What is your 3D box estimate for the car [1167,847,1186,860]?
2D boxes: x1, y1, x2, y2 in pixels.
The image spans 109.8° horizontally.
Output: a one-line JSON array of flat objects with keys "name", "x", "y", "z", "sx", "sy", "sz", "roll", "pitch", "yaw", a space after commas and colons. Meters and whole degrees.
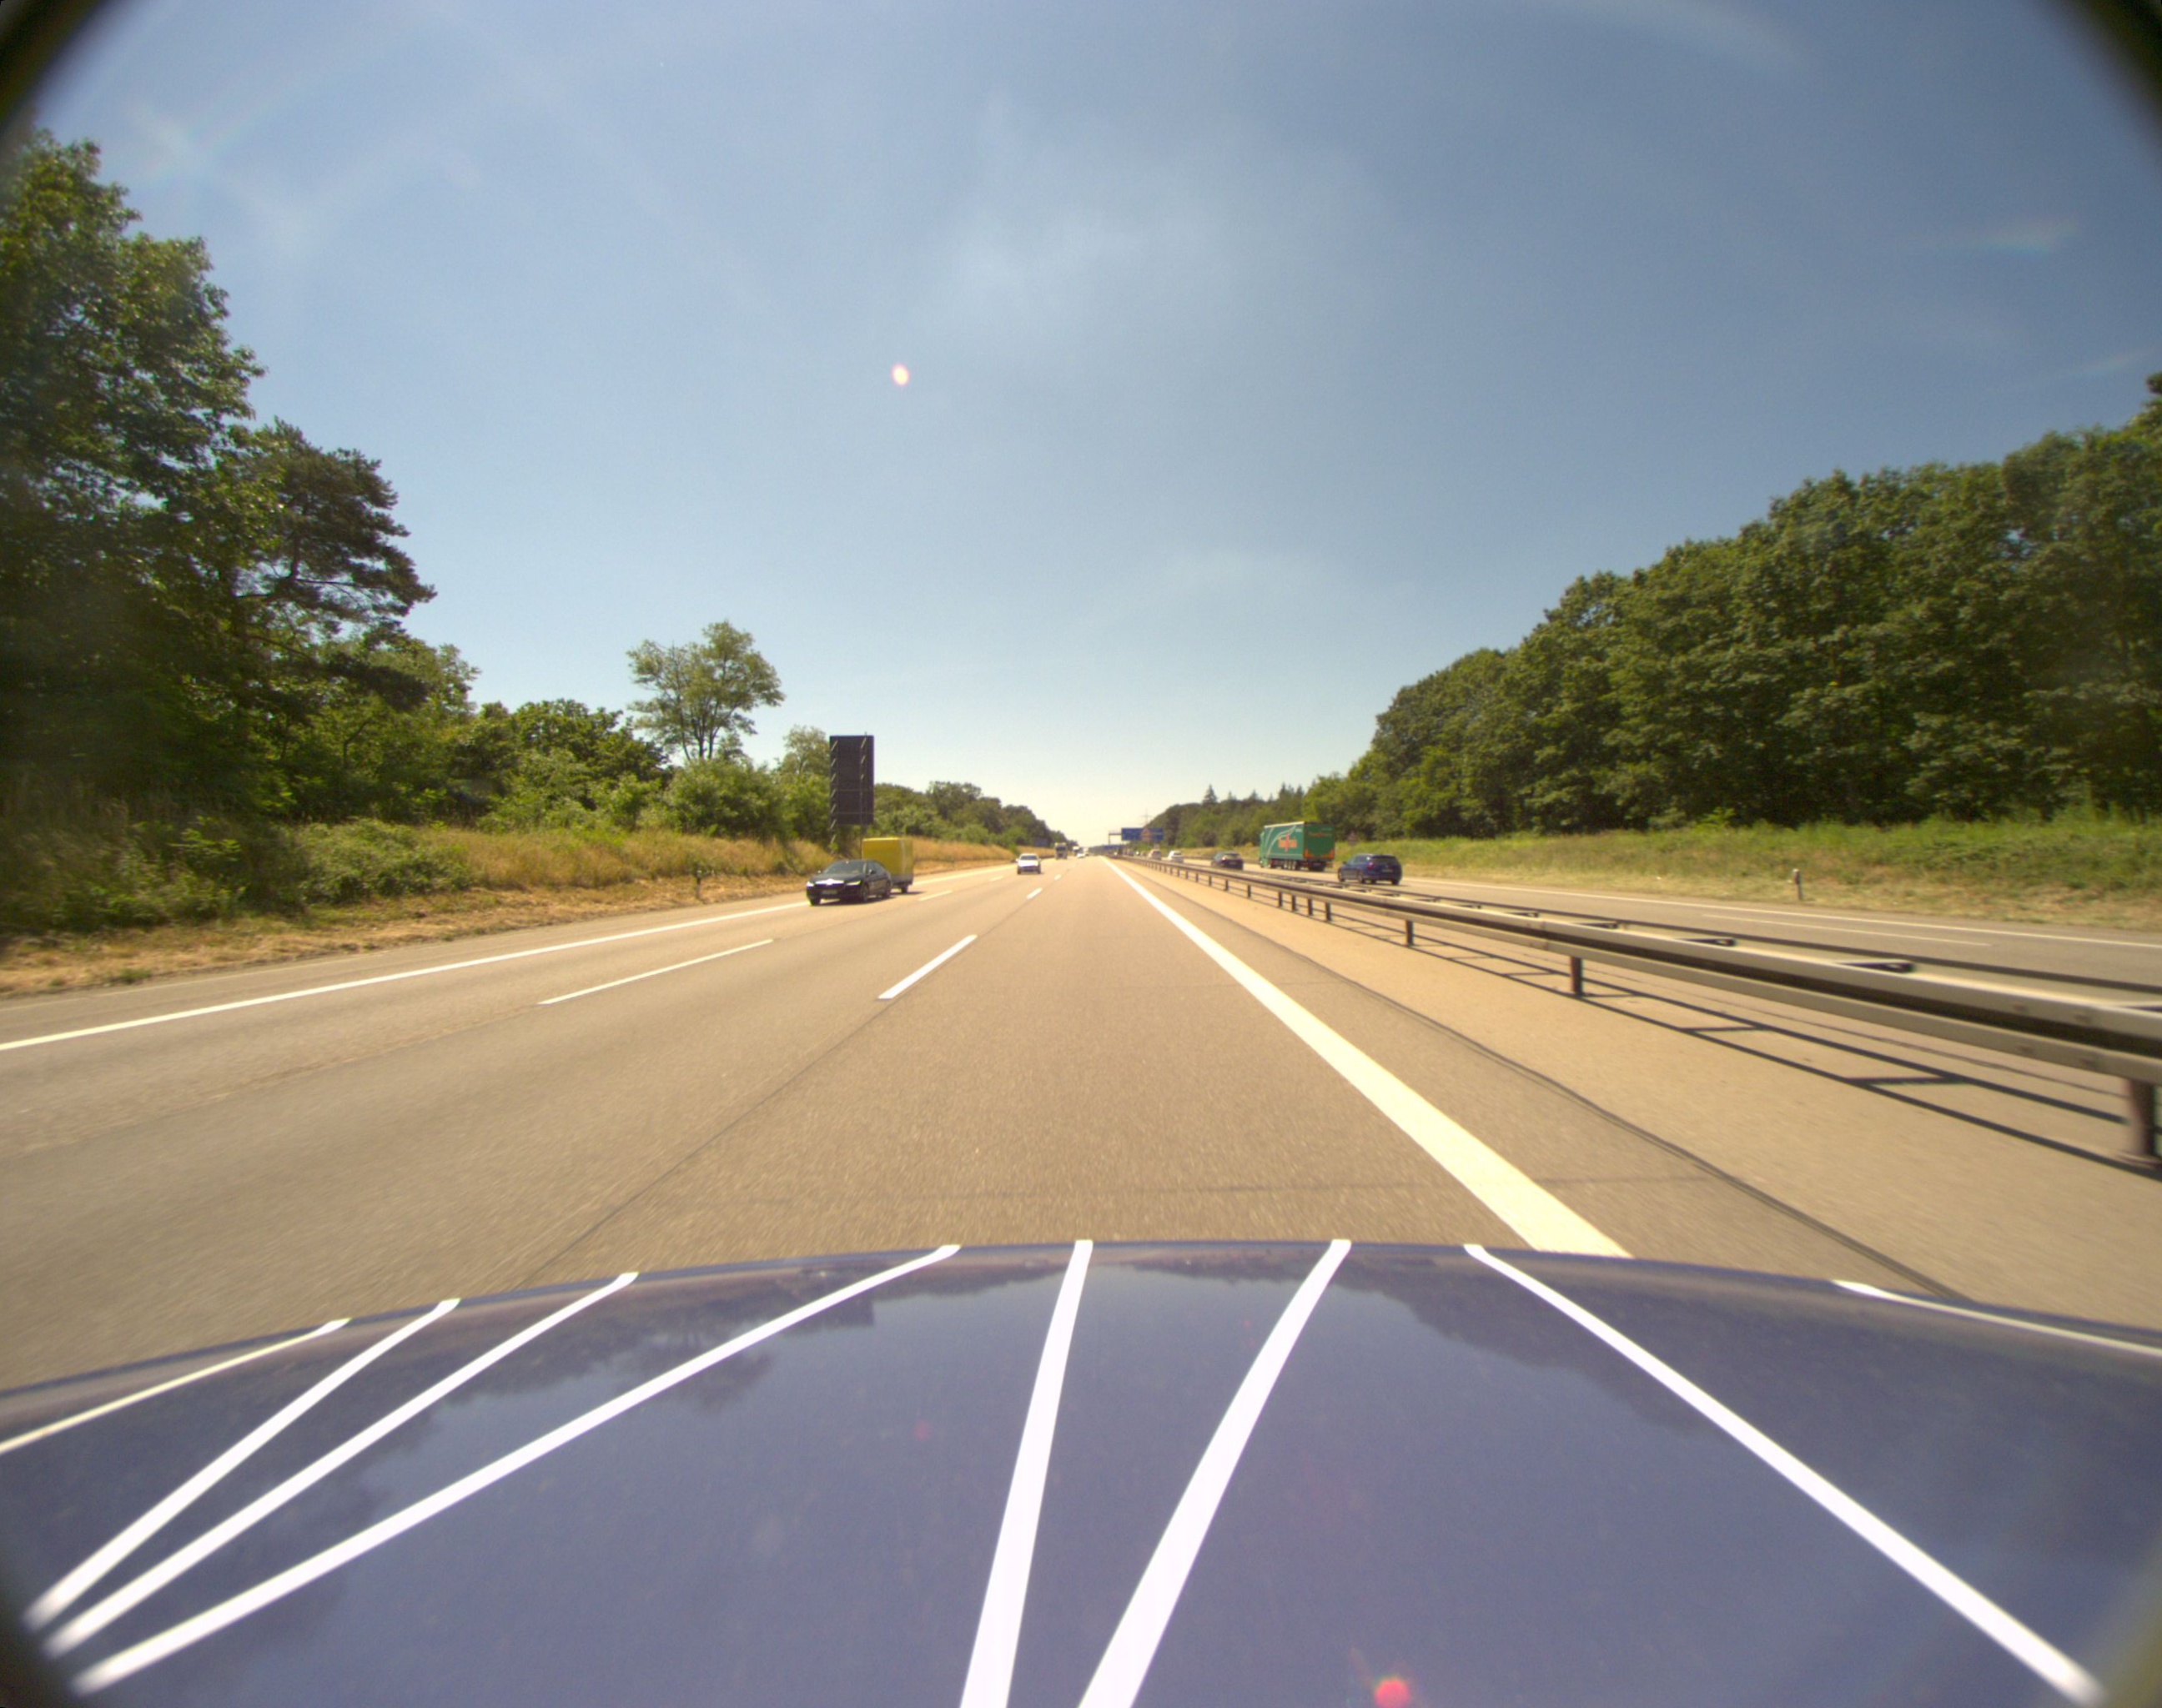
[{"name": "car", "x": 11.331, "y": -0.047, "z": 90.586, "sx": 1.659, "sy": 1.492, "sz": 4.600, "roll": 2, "pitch": 1, "yaw": 1}]

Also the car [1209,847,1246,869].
[{"name": "car", "x": 10.241, "y": 0.222, "z": 53.422, "sx": 1.713, "sy": 1.402, "sz": 5.083, "roll": 2, "pitch": 1, "yaw": 1}]

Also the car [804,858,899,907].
[{"name": "car", "x": -7.910, "y": 0.934, "z": 26.662, "sx": 1.826, "sy": 1.447, "sz": 4.788, "roll": -2, "pitch": 1, "yaw": 0}]

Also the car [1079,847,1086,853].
[{"name": "car", "x": 0.405, "y": -0.932, "z": 190.573, "sx": 1.796, "sy": 1.412, "sz": 3.999, "roll": -2, "pitch": 0, "yaw": 0}]

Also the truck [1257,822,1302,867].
[{"name": "truck", "x": 19.286, "y": -0.953, "z": 74.088, "sx": 2.707, "sy": 4.137, "sz": 6.296, "roll": 2, "pitch": 1, "yaw": 1}]

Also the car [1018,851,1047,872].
[{"name": "car", "x": -3.528, "y": 0.536, "z": 55.842, "sx": 1.749, "sy": 1.457, "sz": 3.980, "roll": -2, "pitch": 0, "yaw": 2}]

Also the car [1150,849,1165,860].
[{"name": "car", "x": 12.690, "y": 0.023, "z": 125.843, "sx": 1.959, "sy": 1.782, "sz": 5.562, "roll": 2, "pitch": 0, "yaw": 1}]

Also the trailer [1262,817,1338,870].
[{"name": "trailer", "x": 19.170, "y": -0.894, "z": 67.738, "sx": 2.711, "sy": 4.137, "sz": 14.337, "roll": 2, "pitch": 1, "yaw": 1}]

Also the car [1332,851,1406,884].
[{"name": "car", "x": 13.902, "y": 0.615, "z": 36.983, "sx": 1.678, "sy": 1.435, "sz": 5.135, "roll": 1, "pitch": 1, "yaw": 1}]

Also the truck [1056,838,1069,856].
[{"name": "truck", "x": -4.163, "y": -1.615, "z": 175.068, "sx": 2.605, "sy": 3.811, "sz": 5.969, "roll": -2, "pitch": 0, "yaw": 1}]

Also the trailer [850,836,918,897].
[{"name": "trailer", "x": -7.946, "y": 0.476, "z": 30.987, "sx": 1.707, "sy": 2.276, "sz": 3.839, "roll": -2, "pitch": 1, "yaw": 0}]
